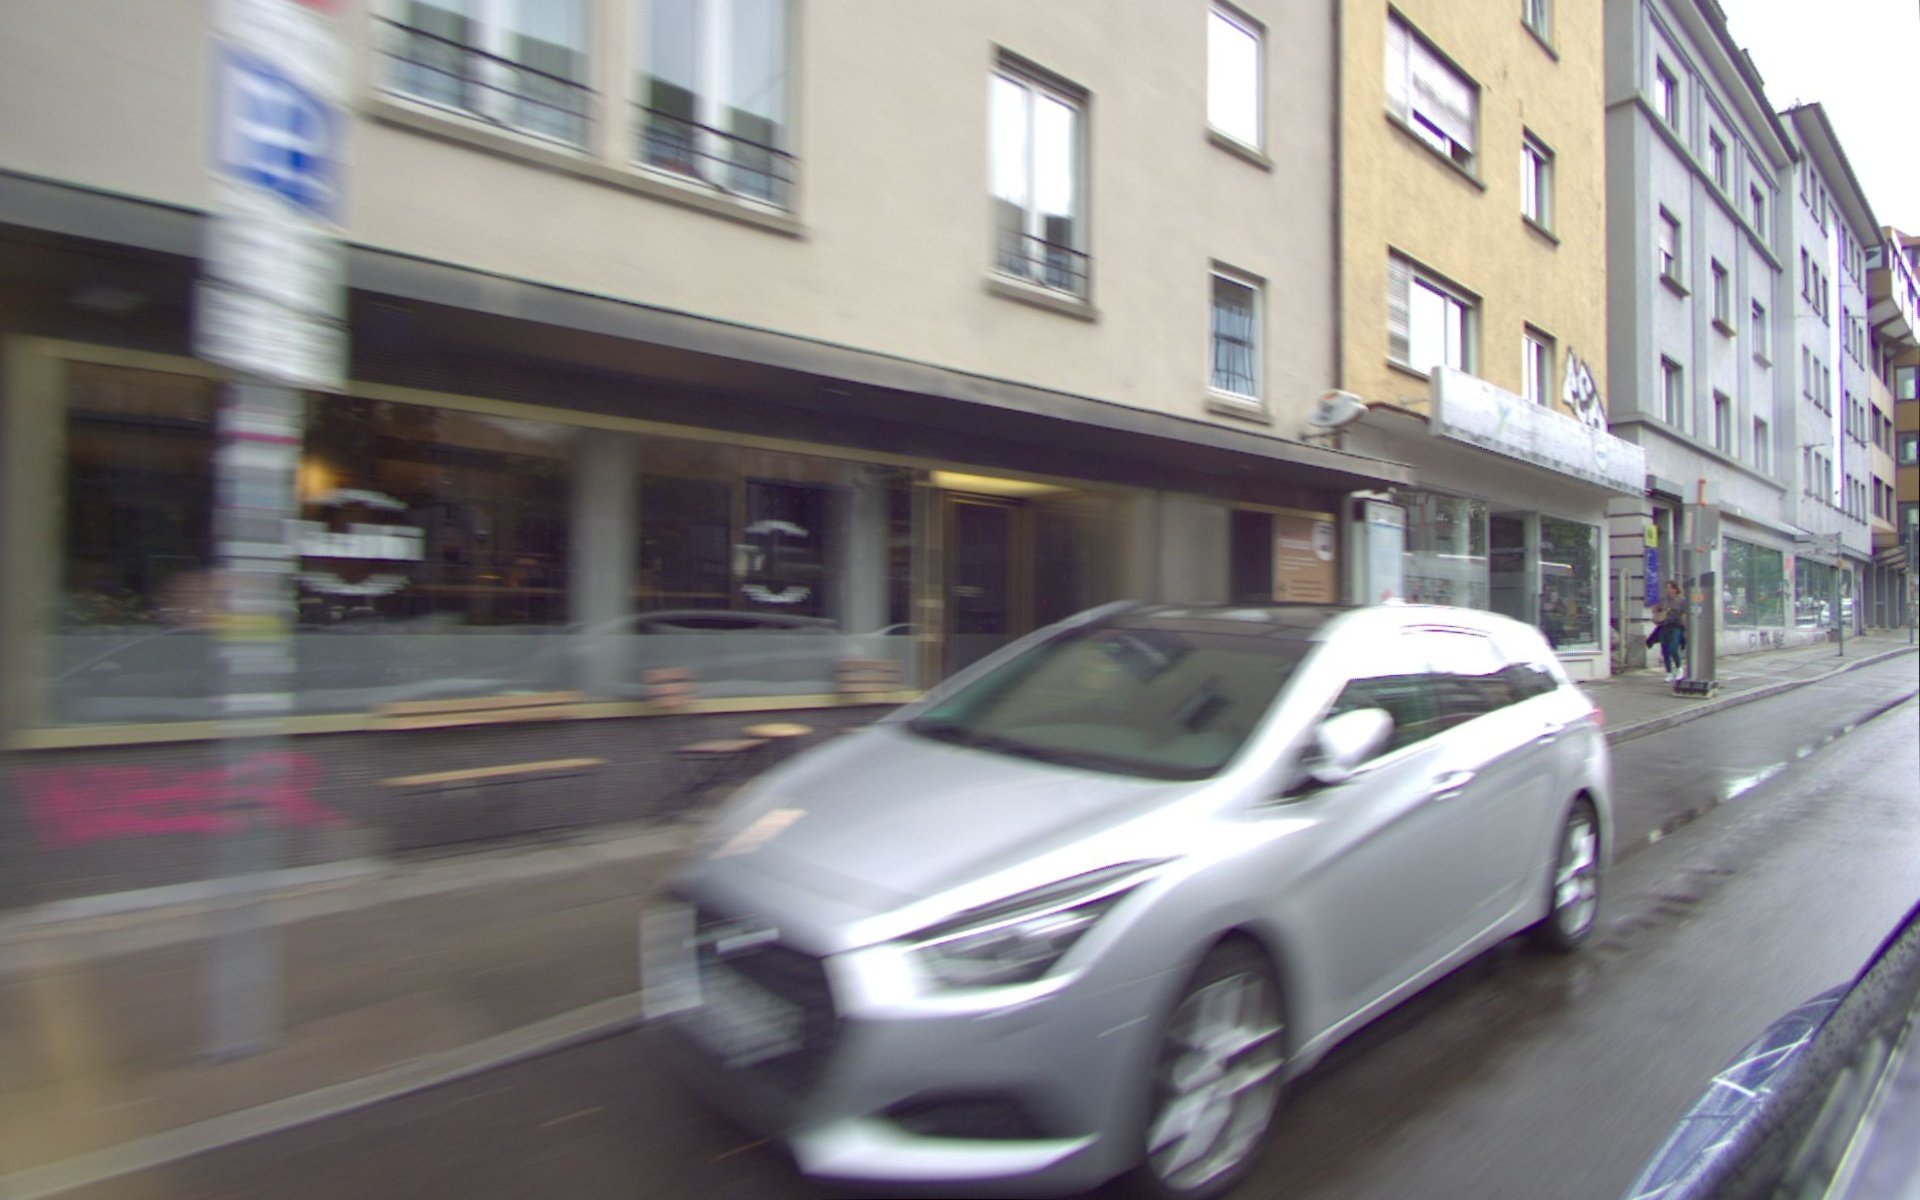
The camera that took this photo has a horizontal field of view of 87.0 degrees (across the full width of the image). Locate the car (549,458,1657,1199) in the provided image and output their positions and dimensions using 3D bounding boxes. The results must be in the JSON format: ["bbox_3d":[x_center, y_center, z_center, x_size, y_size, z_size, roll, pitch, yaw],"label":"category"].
[{"bbox_3d":[1.002,0.544,4.091,4.542,1.614,2.027,0,0,-42],"label":"car"}]

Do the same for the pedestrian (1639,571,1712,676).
[{"bbox_3d":[11.806,0.389,16.701,0.708,1.681,0.792,0,-2,-41],"label":"pedestrian"}]
